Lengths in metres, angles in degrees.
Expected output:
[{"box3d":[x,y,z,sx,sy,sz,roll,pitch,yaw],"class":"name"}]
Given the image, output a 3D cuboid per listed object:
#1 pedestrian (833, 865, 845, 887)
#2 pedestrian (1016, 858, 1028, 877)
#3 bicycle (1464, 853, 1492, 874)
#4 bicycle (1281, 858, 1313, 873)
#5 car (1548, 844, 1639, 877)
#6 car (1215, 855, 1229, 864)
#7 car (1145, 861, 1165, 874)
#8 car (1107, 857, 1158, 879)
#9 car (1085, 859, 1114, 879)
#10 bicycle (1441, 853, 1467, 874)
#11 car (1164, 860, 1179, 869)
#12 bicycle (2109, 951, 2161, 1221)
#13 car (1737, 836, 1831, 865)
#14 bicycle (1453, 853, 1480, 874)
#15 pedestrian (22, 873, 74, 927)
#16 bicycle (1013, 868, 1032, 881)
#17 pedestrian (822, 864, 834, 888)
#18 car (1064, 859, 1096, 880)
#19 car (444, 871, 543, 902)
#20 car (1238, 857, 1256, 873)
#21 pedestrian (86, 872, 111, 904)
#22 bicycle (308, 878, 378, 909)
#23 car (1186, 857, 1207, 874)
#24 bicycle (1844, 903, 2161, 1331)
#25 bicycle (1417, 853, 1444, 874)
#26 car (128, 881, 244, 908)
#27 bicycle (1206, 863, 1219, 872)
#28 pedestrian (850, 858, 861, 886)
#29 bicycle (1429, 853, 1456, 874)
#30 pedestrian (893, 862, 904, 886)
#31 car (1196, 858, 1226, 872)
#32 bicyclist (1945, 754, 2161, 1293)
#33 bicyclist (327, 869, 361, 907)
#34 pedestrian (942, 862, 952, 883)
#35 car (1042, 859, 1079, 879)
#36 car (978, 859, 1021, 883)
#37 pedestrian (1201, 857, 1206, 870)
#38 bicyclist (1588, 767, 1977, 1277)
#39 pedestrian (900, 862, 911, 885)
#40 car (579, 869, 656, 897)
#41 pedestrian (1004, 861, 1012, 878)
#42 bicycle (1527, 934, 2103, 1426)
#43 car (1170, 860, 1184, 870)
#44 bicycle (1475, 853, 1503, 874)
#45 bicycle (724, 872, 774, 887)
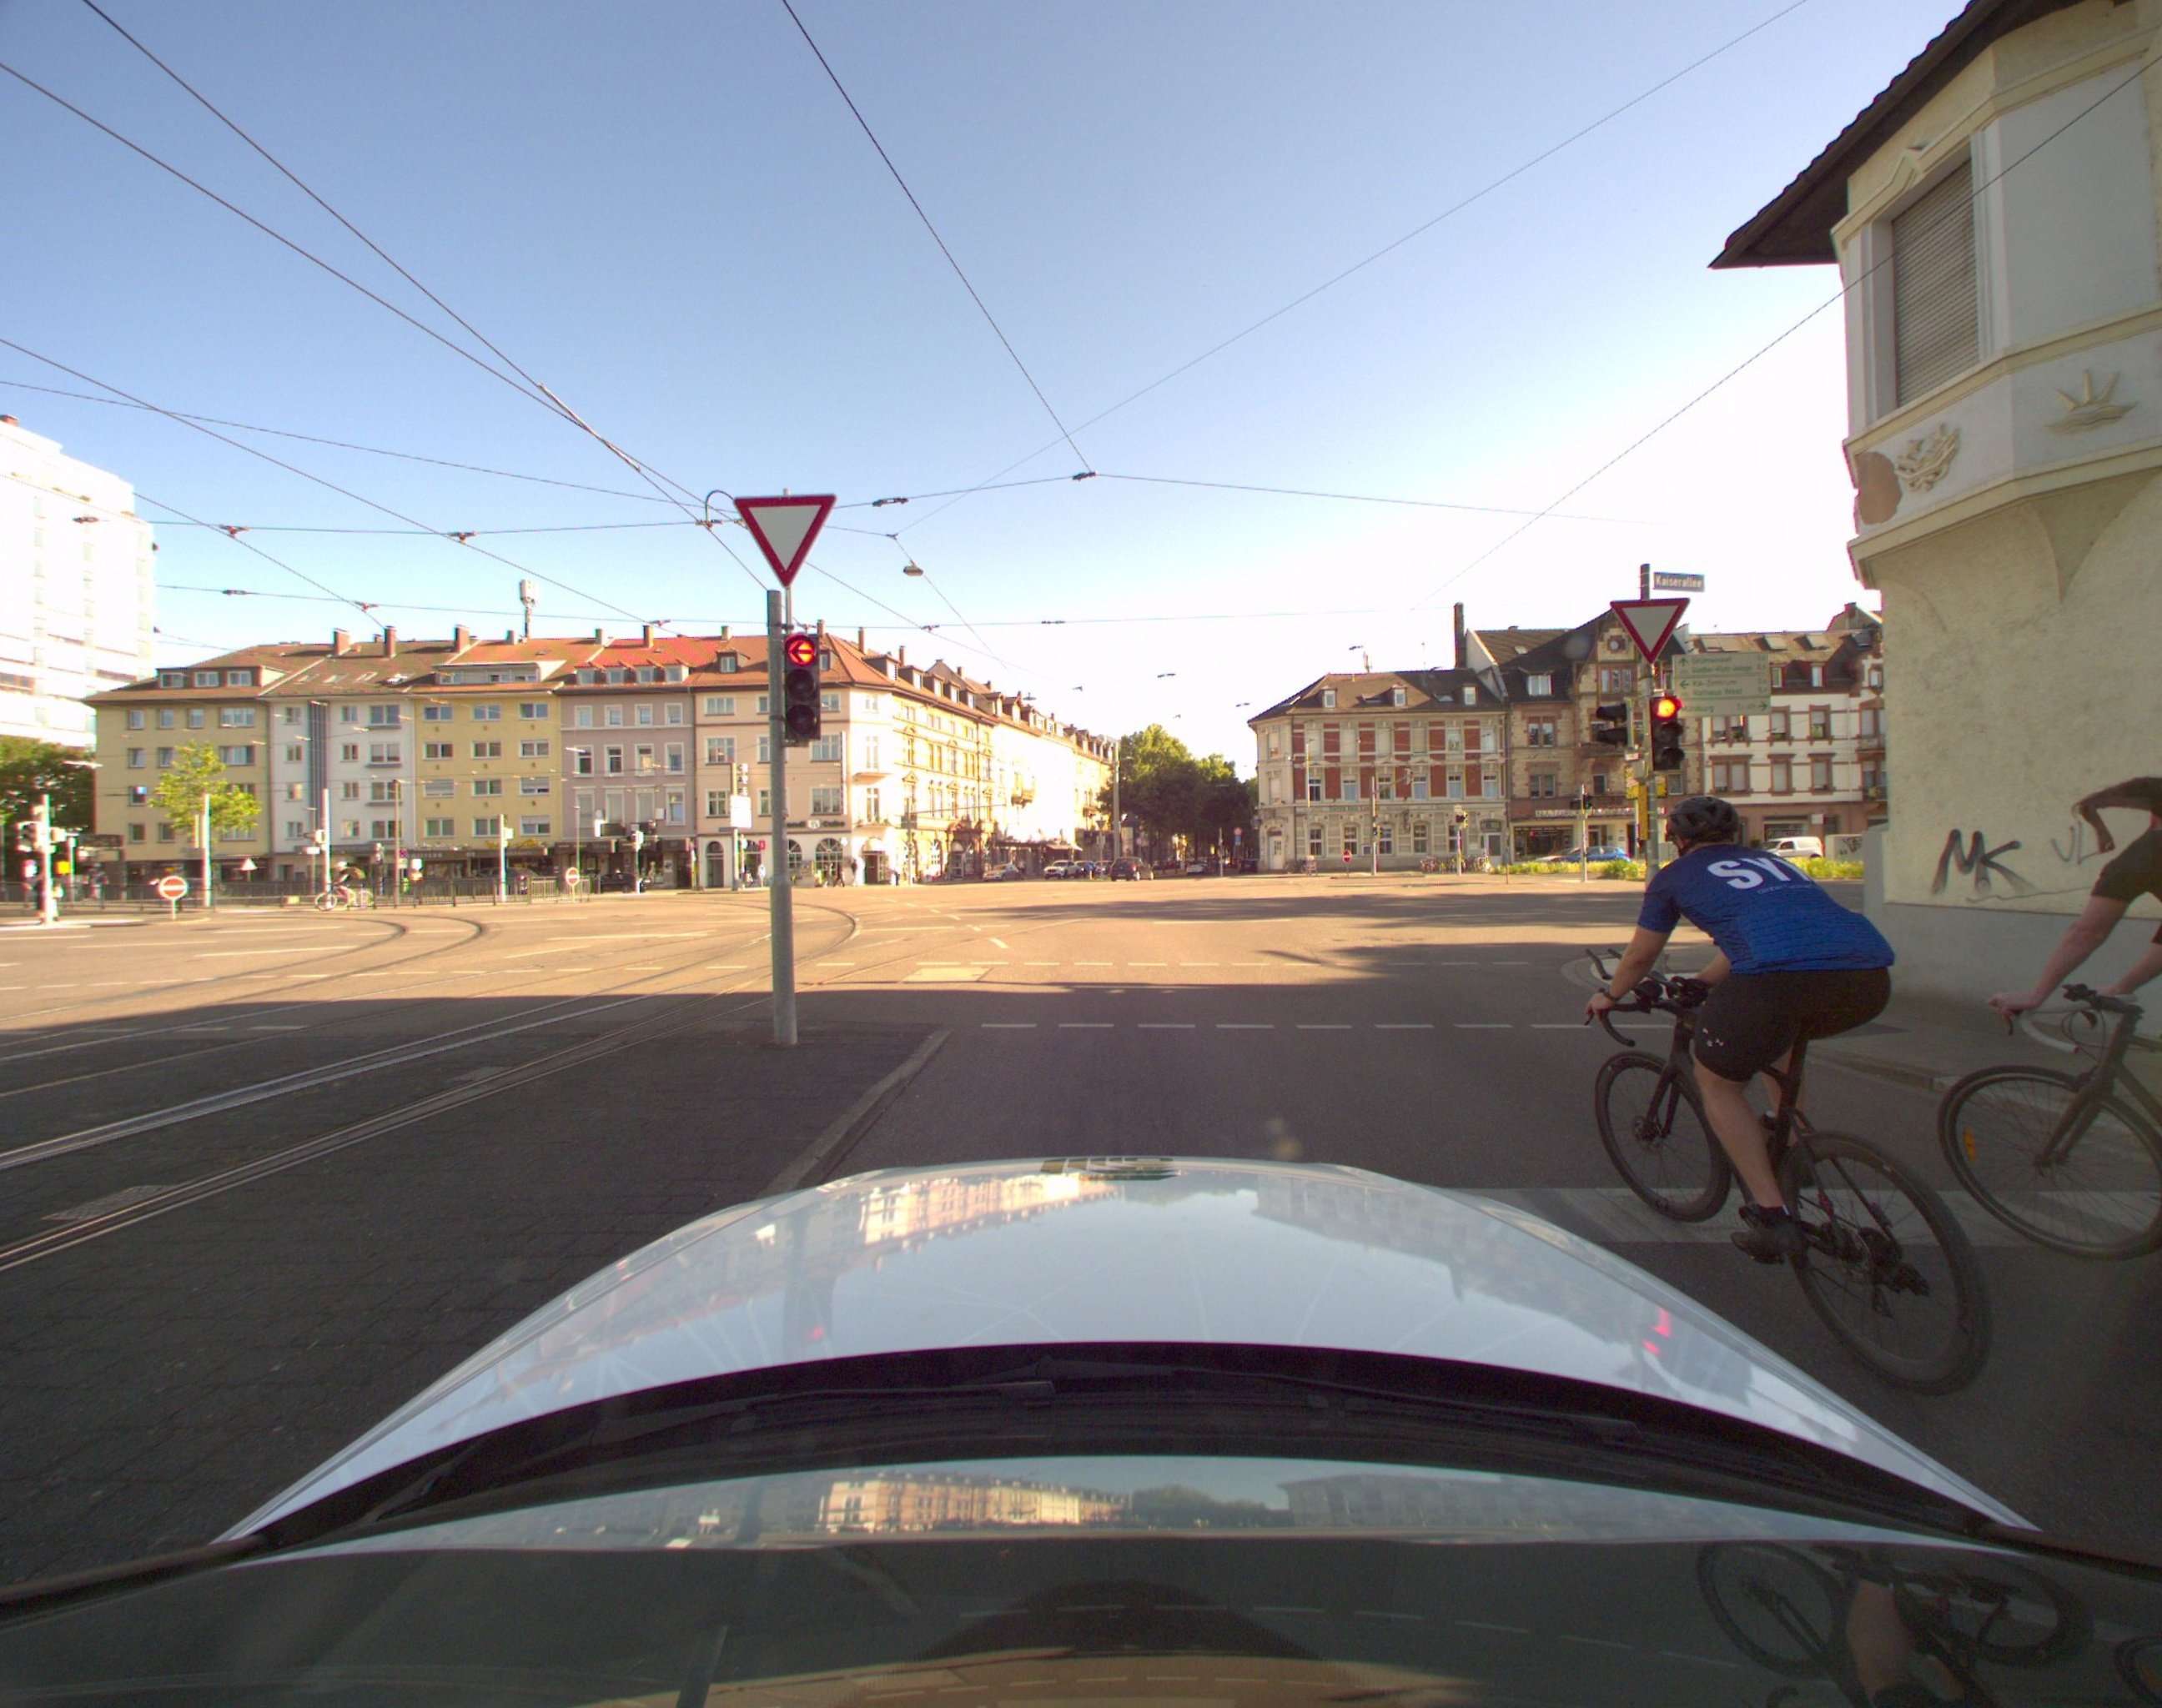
[{"box3d":[-16.155,1.454,54.349,0.631,1.477,0.465,0,-1,-2],"class":"pedestrian"},{"box3d":[-4.759,1.106,65.488,0.814,1.512,0.601,-1,-1,16],"class":"pedestrian"},{"box3d":[25.502,0.601,52.380,0.626,1.287,2.663,0,-1,3],"class":"bicycle"},{"box3d":[15.082,0.818,56.888,2.040,0.998,0.631,-1,-1,4],"class":"bicycle"},{"box3d":[28.343,0.361,45.128,3.769,1.778,2.000,0,-1,1],"class":"car"},{"box3d":[23.259,0.919,134.249,1.546,1.513,3.673,-1,-1,19],"class":"car"},{"box3d":[11.156,2.028,122.485,1.977,1.904,4.019,-1,-1,19],"class":"car"},{"box3d":[3.300,0.849,51.131,1.737,1.362,3.879,-1,-1,28],"class":"car"},{"box3d":[1.847,1.404,79.657,1.979,1.904,4.015,-1,-1,14],"class":"car"},{"box3d":[23.984,0.596,52.412,0.626,1.287,2.663,0,-1,3],"class":"bicycle"},{"box3d":[14.686,1.720,131.823,1.546,1.513,3.673,-1,-1,19],"class":"car"},{"box3d":[4.481,0.902,2.422,0.647,1.031,1.772,0,-1,3],"class":"bicycle"},{"box3d":[45.311,-0.230,52.564,4.349,1.778,2.000,0,-1,1],"class":"car"},{"box3d":[24.775,0.622,52.384,0.626,1.287,2.663,0,-1,3],"class":"bicycle"},{"box3d":[-31.608,1.395,24.930,0.697,1.634,0.681,0,-1,-3],"class":"pedestrian"},{"box3d":[-4.731,1.636,65.556,0.756,1.008,2.406,-1,-1,16],"class":"bicycle"},{"box3d":[-17.075,1.465,54.944,0.631,1.612,0.465,0,-1,-2],"class":"pedestrian"},{"box3d":[-0.037,1.371,73.853,1.979,1.904,4.015,-1,-1,14],"class":"car"},{"box3d":[-32.852,1.813,45.619,4.149,1.618,1.955,0,-1,2],"class":"car"},{"box3d":[16.820,1.137,82.359,1.680,1.565,3.855,-1,-1,14],"class":"car"},{"box3d":[-50.626,1.739,41.964,0.523,1.628,0.577,0,-1,0],"class":"pedestrian"},{"box3d":[-26.941,1.427,29.747,0.567,1.070,1.806,-1,-1,32],"class":"bicycle"},{"box3d":[10.477,1.043,73.981,1.762,1.530,4.008,0,-1,8],"class":"car"},{"box3d":[3.648,0.825,2.639,0.752,1.236,1.702,0,-1,0],"class":"bicycle"},{"box3d":[22.472,0.591,52.444,0.689,1.287,2.663,0,-1,3],"class":"bicycle"},{"box3d":[-49.522,2.208,45.130,3.979,1.376,1.997,0,-1,-4],"class":"car"},{"box3d":[15.998,1.651,98.861,0.630,1.085,1.687,0,-1,-28],"class":"bicycle"},{"box3d":[-15.384,1.233,55.470,0.631,1.881,0.465,0,-1,-2],"class":"pedestrian"},{"box3d":[23.261,0.606,52.419,0.689,1.287,2.663,0,-1,3],"class":"bicycle"},{"box3d":[-12.636,1.365,56.364,0.631,1.634,0.700,0,-1,-2],"class":"pedestrian"},{"box3d":[18.343,1.565,114.721,3.955,1.904,2.009,-1,-1,17],"class":"car"},{"box3d":[3.620,0.503,2.581,0.803,1.606,0.883,0,-1,0],"class":"bicyclist"},{"box3d":[-26.922,1.228,29.750,0.553,1.366,0.808,-1,-1,33],"class":"bicyclist"},{"box3d":[-10.592,1.445,64.562,0.539,1.631,0.709,-1,-1,15],"class":"pedestrian"},{"box3d":[-1.659,1.199,67.410,1.979,1.618,4.015,-1,-1,14],"class":"car"},{"box3d":[-6.721,1.368,67.425,1.977,1.904,4.019,-1,-1,19],"class":"car"},{"box3d":[16.639,1.341,110.759,0.635,1.796,0.492,-1,-1,14],"class":"pedestrian"},{"box3d":[2.332,0.485,2.841,0.635,1.494,0.885,0,1,6],"class":"bicyclist"},{"box3d":[-12.379,1.386,57.534,0.631,1.634,0.700,0,-1,-2],"class":"pedestrian"},{"box3d":[-30.588,1.919,53.817,3.962,1.670,2.006,-2,0,10],"class":"car"},{"box3d":[-6.758,1.433,75.721,0.539,1.631,0.709,-1,-1,15],"class":"pedestrian"},{"box3d":[2.330,0.907,2.928,0.623,1.085,1.705,0,-1,5],"class":"bicycle"},{"box3d":[16.103,1.814,136.218,1.546,1.513,3.673,-1,-1,19],"class":"car"},{"box3d":[26.197,0.603,52.351,0.626,1.287,2.663,0,-1,3],"class":"bicycle"},{"box3d":[-23.424,1.791,57.465,3.118,0.980,1.002,0,-1,1],"class":"bicycle"}]
